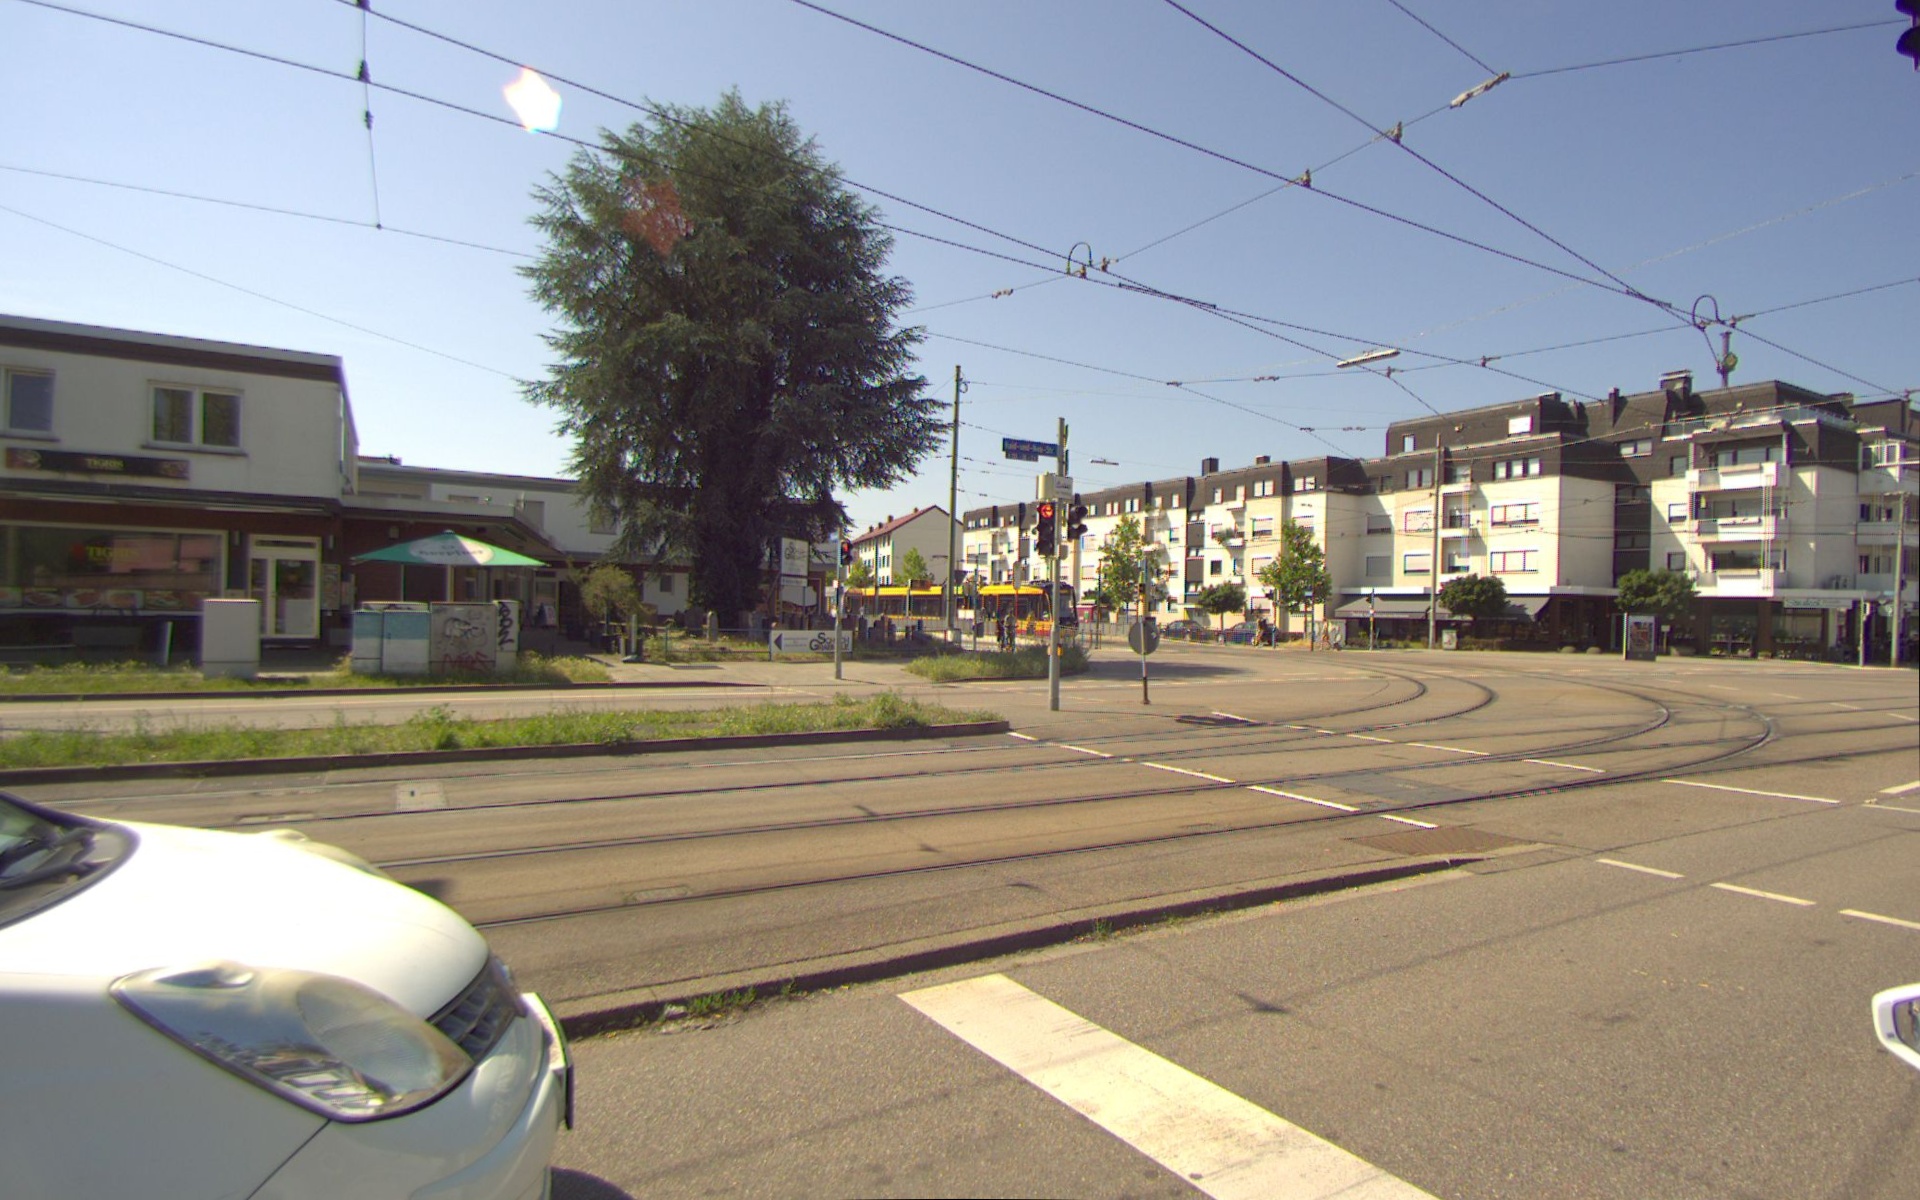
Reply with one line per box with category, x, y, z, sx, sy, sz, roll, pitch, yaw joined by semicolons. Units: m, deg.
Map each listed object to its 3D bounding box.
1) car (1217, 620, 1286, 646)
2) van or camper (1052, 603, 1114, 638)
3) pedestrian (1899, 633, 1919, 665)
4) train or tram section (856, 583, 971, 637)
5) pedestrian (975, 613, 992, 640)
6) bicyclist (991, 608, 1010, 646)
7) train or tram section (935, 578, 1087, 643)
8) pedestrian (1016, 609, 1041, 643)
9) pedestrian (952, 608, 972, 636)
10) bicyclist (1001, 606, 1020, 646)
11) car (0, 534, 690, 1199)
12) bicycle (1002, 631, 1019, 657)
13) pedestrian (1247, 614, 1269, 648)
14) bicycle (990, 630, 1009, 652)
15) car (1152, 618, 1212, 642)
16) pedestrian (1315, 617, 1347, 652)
car;18.591;2.104;64.247;1.807;1.520;4.152;2;-1;-30
van or camper;9.694;1.596;79.546;2.349;2.659;4.851;2;-1;-30
pedestrian;50.977;2.606;53.739;0.667;1.669;0.881;1;0;10
train or tram section;-3.835;0.750;76.645;2.736;3.706;13.799;2;-1;-30
pedestrian;1.463;1.647;62.680;0.775;1.648;0.655;1;-1;-30
bicyclist;1.748;1.156;43.353;0.621;1.595;0.763;1;-1;-15
train or tram section;2.900;0.666;64.599;2.736;3.706;13.799;2;-1;-30
pedestrian;3.880;1.474;56.742;0.886;1.862;1.192;2;-1;-29
pedestrian;0.114;1.399;63.815;0.804;1.703;1.085;2;-1;-29
bicyclist;2.036;1.051;40.379;0.620;1.579;0.765;1;-2;-9
car;-2.620;0.699;1.403;4.019;1.581;1.758;2;-2;-30
bicycle;2.017;1.759;40.320;0.525;0.959;2.136;1;-1;-1
pedestrian;16.185;1.679;54.558;0.758;1.783;0.802;2;-1;-42
bicycle;1.703;1.747;43.313;0.565;0.902;2.135;1;-1;-4
car;15.338;2.066;69.590;1.807;1.520;3.968;2;-1;-30
pedestrian;19.962;1.851;54.114;1.410;1.860;1.124;1;-1;9
